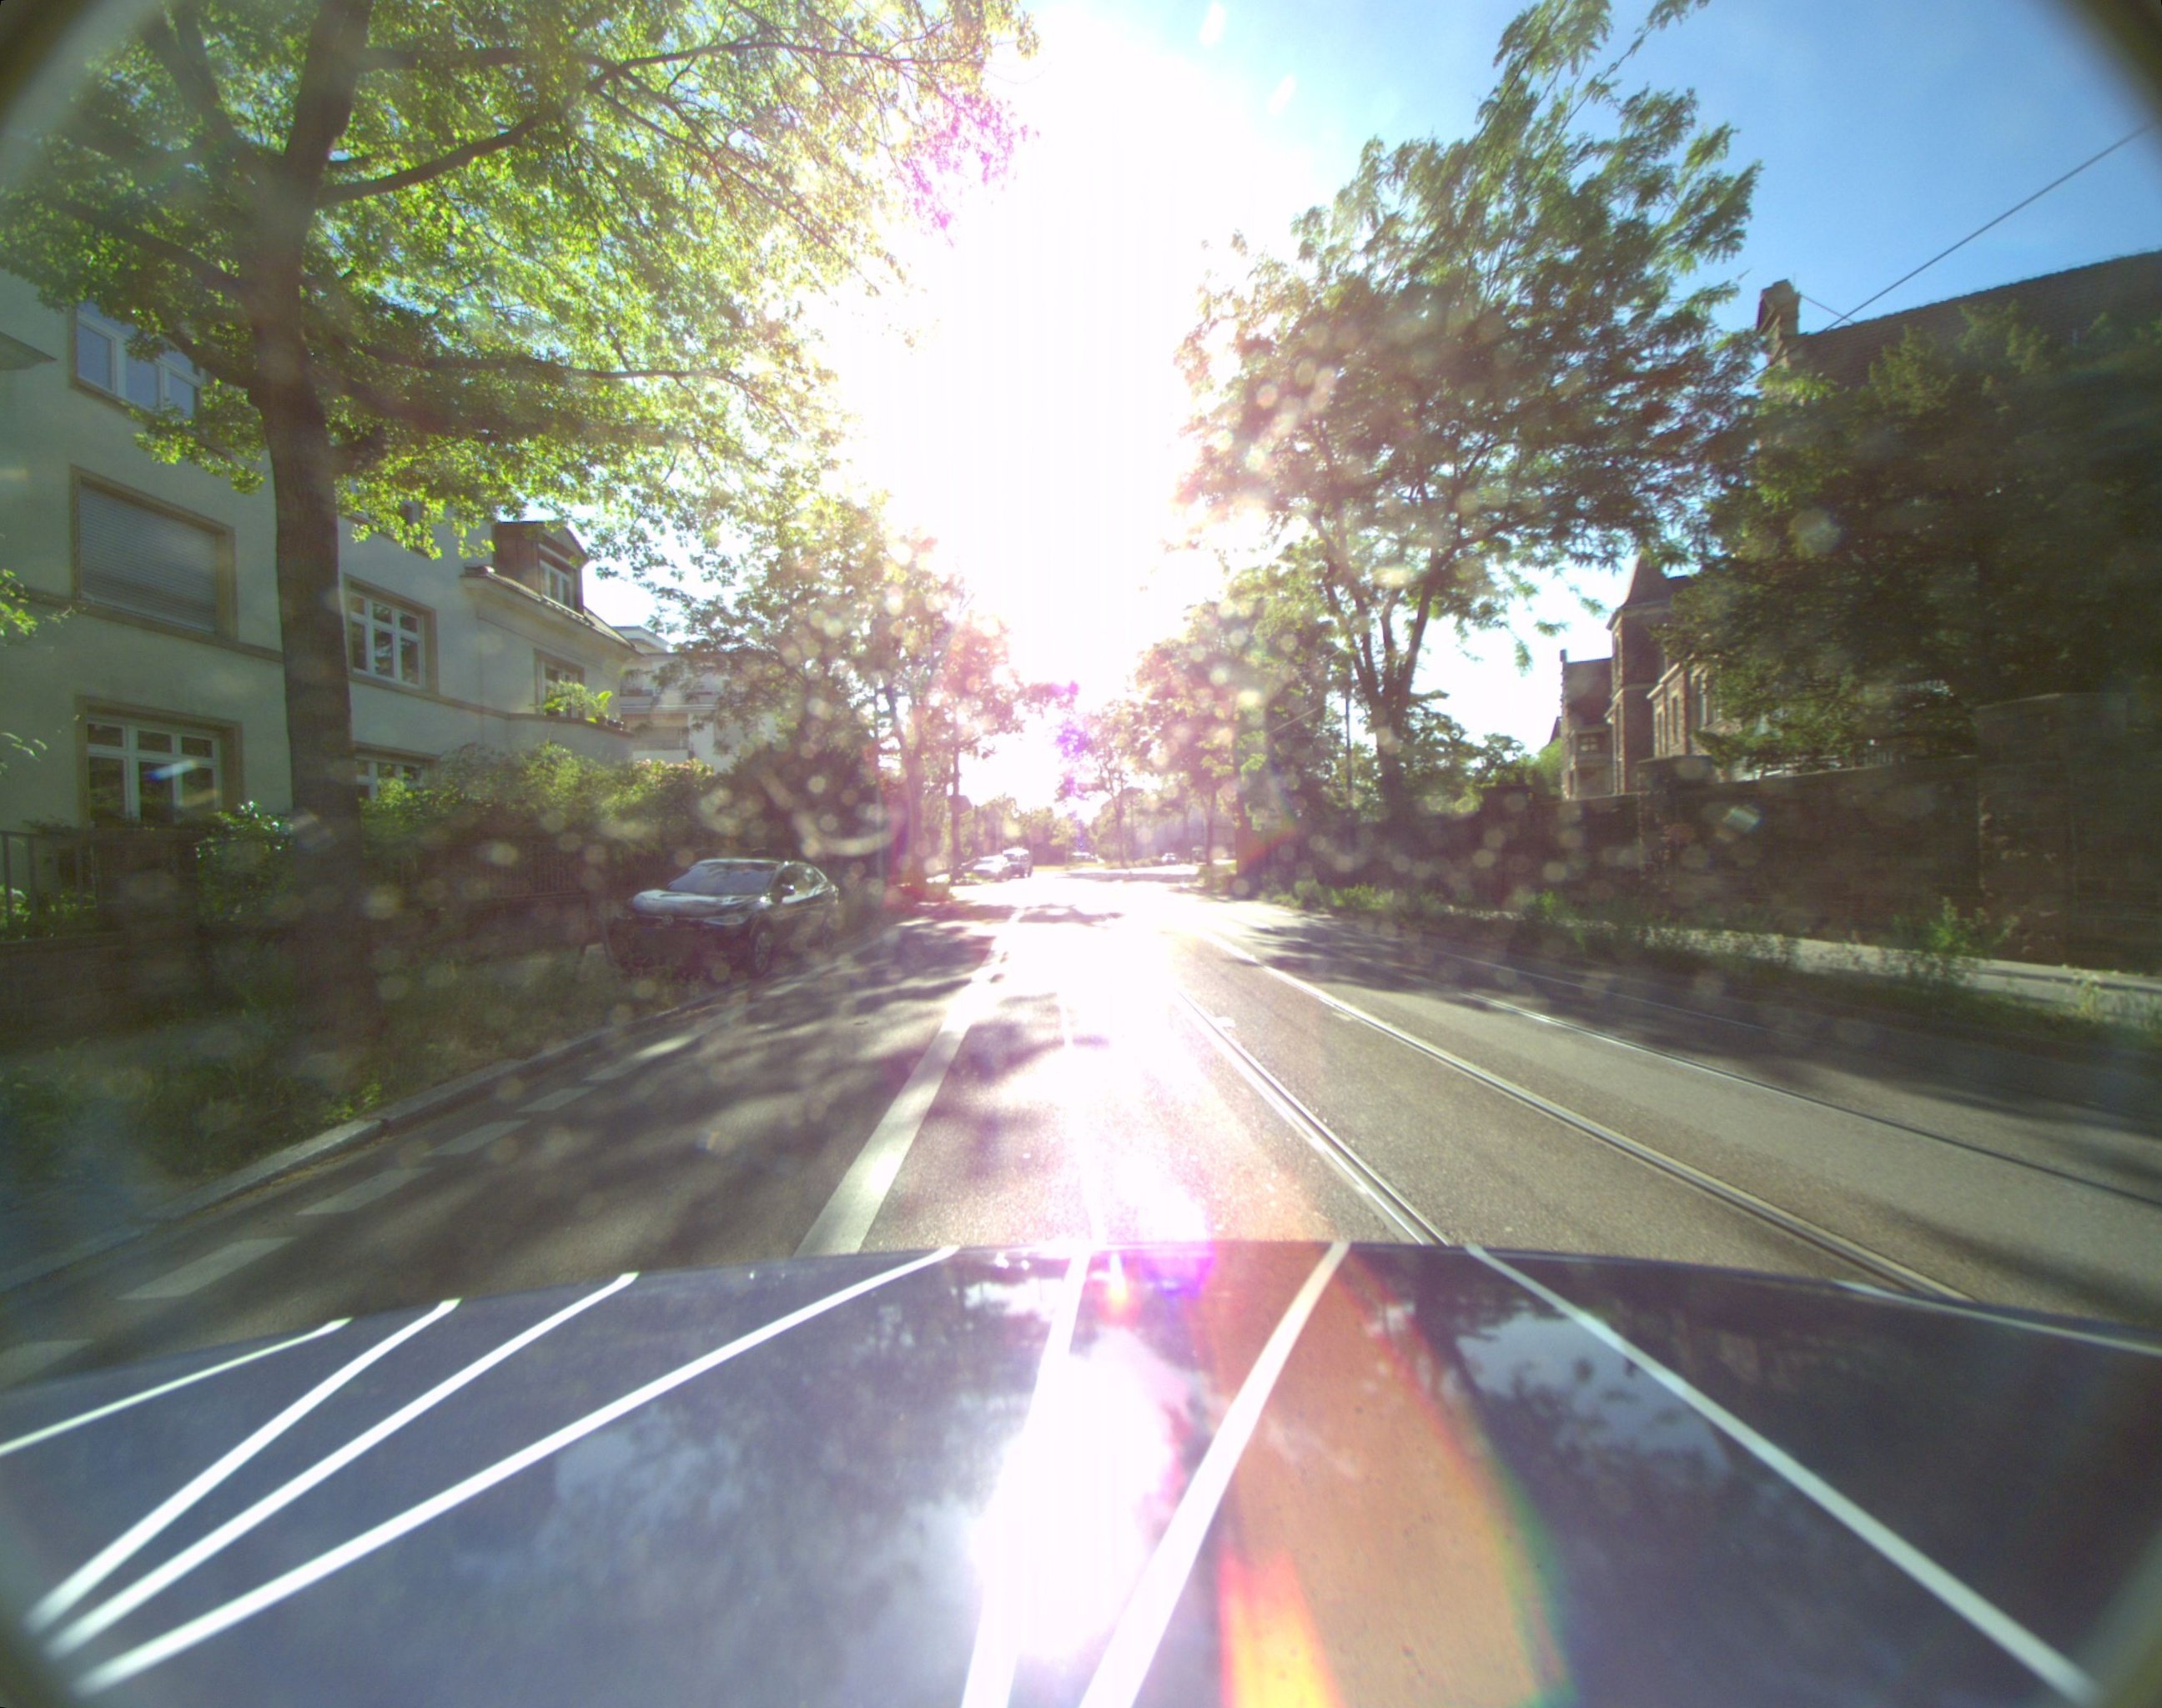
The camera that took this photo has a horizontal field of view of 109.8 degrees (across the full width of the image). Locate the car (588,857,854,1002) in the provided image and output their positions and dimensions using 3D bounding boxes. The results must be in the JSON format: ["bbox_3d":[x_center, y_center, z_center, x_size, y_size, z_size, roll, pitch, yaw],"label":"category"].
[{"bbox_3d":[-5.143,0.940,11.724,1.809,1.684,4.728,2,0,0],"label":"car"}]

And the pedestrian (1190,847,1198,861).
[{"bbox_3d":[14.729,0.009,99.267,0.878,1.854,1.021,-1,1,12],"label":"pedestrian"}]

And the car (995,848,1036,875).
[{"bbox_3d":[-4.382,0.466,51.616,2.027,1.736,4.753,-1,0,4],"label":"car"}]

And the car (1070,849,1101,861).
[{"bbox_3d":[0.730,0.220,128.922,5.209,1.874,2.100,-2,1,1],"label":"car"}]

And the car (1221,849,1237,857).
[{"bbox_3d":[28.377,-0.245,145.480,1.739,1.487,4.538,-1,1,28],"label":"car"}]

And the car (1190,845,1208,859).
[{"bbox_3d":[18.231,-0.270,117.072,1.996,2.083,4.722,-1,0,17],"label":"car"}]

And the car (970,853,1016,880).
[{"bbox_3d":[-5.238,0.727,45.671,1.998,1.415,4.332,-1,1,3],"label":"car"}]

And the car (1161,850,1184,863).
[{"bbox_3d":[11.985,0.271,99.333,2.003,1.457,5.439,3,2,18],"label":"car"}]

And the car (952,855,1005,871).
[{"bbox_3d":[-9.357,0.837,69.713,4.521,1.361,1.969,-1,1,1],"label":"car"}]

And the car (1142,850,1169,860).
[{"bbox_3d":[12.625,0.216,129.022,4.459,1.482,2.008,-1,4,1],"label":"car"}]
